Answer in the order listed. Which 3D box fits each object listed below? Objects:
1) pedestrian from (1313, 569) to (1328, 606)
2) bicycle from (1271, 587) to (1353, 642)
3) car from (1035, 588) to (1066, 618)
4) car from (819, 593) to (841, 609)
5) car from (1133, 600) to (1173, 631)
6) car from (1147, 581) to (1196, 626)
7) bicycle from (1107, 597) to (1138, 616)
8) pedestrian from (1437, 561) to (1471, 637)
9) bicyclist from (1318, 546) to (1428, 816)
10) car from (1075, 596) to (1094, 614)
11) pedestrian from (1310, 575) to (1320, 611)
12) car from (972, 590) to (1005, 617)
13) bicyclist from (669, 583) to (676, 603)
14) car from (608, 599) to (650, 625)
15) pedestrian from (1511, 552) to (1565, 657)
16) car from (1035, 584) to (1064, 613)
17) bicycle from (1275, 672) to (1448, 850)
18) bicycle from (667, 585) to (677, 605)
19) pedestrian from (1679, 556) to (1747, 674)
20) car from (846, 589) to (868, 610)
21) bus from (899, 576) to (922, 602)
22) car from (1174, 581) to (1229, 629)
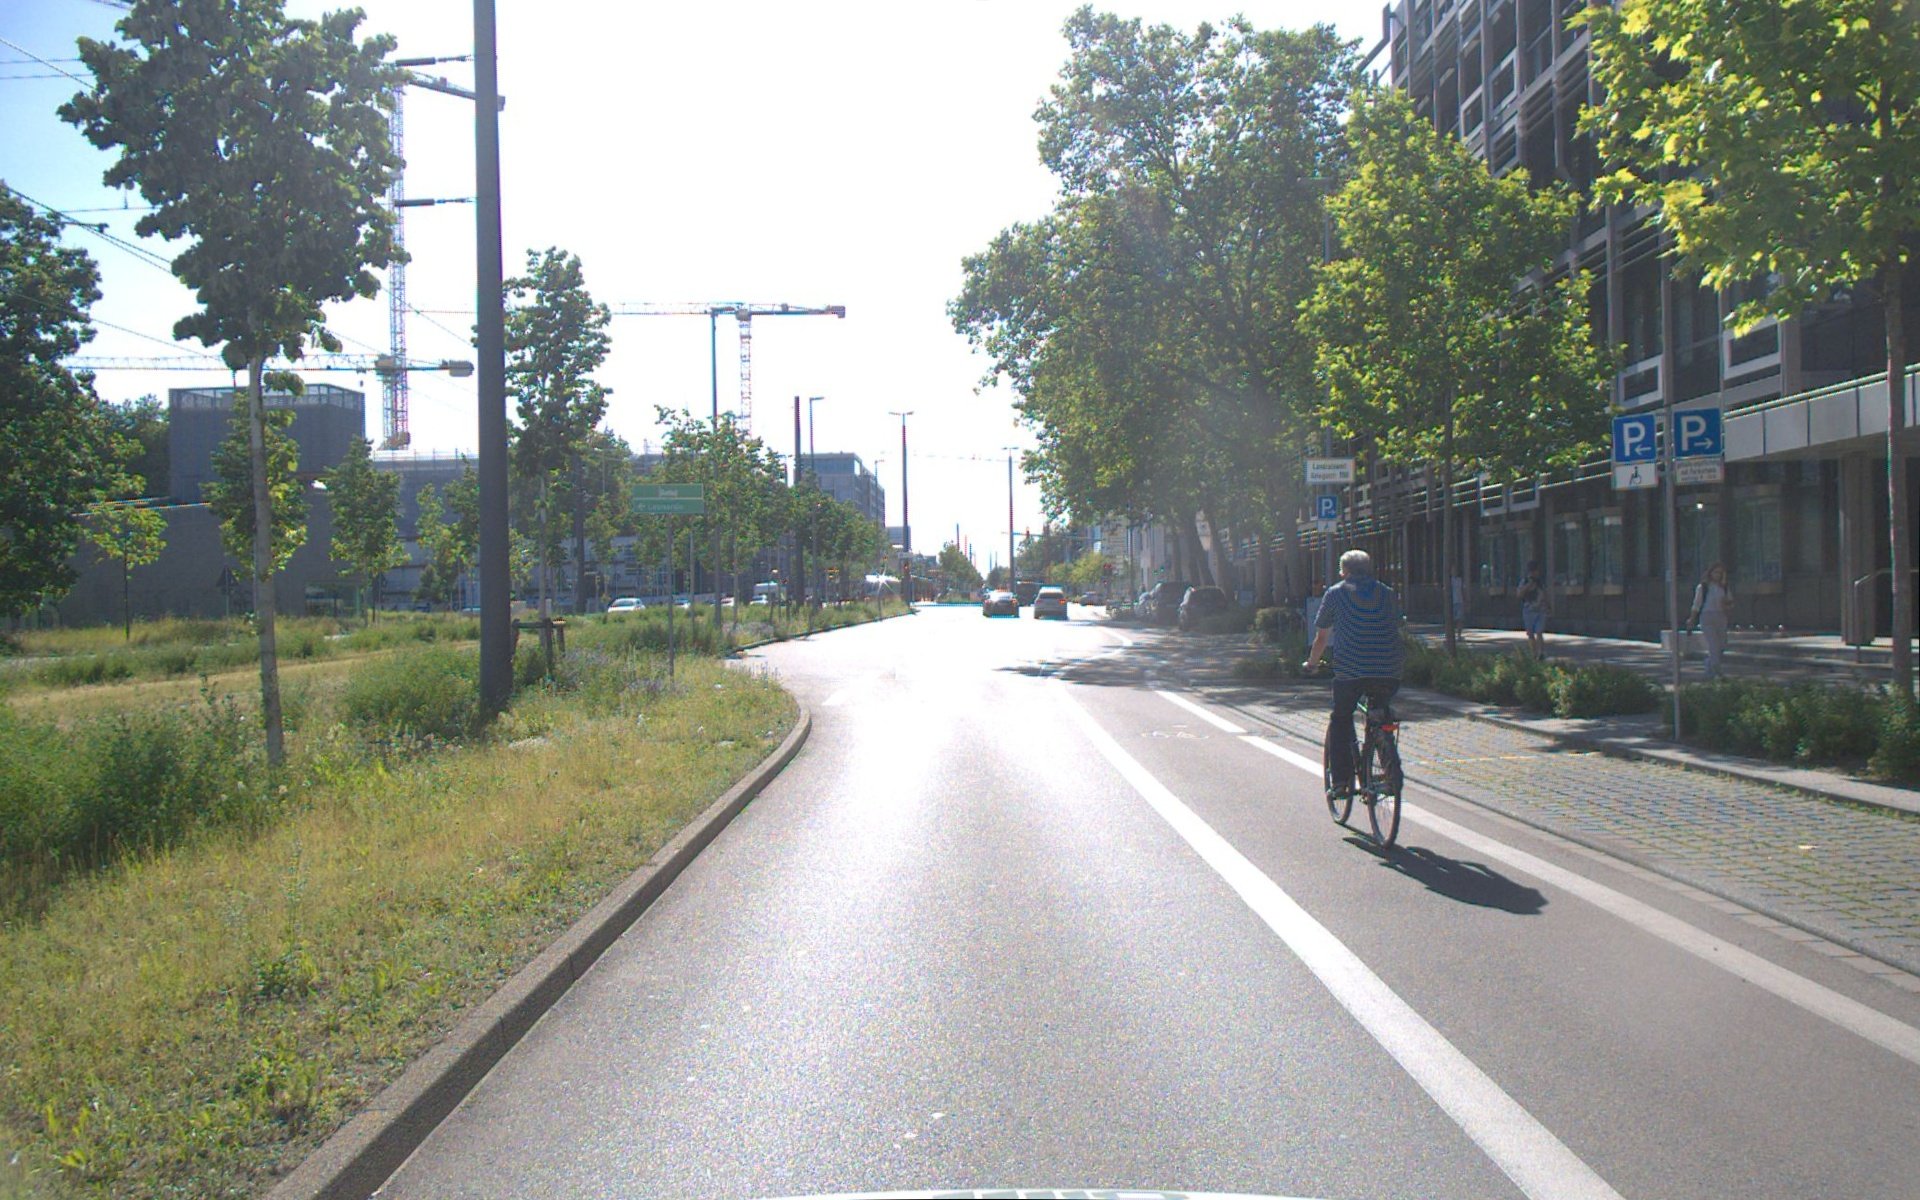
[{"bbox_3d":[15.909,-0.560,73.004,0.542,1.631,0.573,-1,0,2],"label":"pedestrian"},{"bbox_3d":[8.980,0.354,42.254,1.898,1.258,0.579,-4,0,-1],"label":"bicycle"},{"bbox_3d":[5.138,0.160,93.732,1.685,1.646,4.188,-1,0,4],"label":"car"},{"bbox_3d":[-10.124,0.052,128.968,1.348,1.199,3.221,1,-1,2],"label":"car"},{"bbox_3d":[9.825,0.770,84.608,1.668,1.519,4.602,-1,0,2],"label":"car"},{"bbox_3d":[9.178,0.115,72.132,1.669,1.821,4.193,-3,0,2],"label":"car"},{"bbox_3d":[9.137,0.378,93.138,1.659,0.974,0.478,-3,0,-2],"label":"bicycle"},{"bbox_3d":[11.621,-0.031,38.910,0.500,1.730,0.774,-3,0,1],"label":"pedestrian"},{"bbox_3d":[2.570,0.491,10.331,0.502,1.629,0.536,-1,0,-3],"label":"bicyclist"},{"bbox_3d":[11.968,0.493,159.253,1.628,1.678,3.701,1,-1,0],"label":"car"},{"bbox_3d":[15.688,-0.311,73.086,0.309,1.612,0.501,-1,0,-6],"label":"pedestrian"},{"bbox_3d":[1.710,0.214,97.363,1.872,1.512,4.010,-1,0,1],"label":"car"},{"bbox_3d":[-21.753,-0.554,125.011,0.386,1.480,0.539,1,0,1],"label":"bicyclist"},{"bbox_3d":[-19.064,0.675,95.345,1.599,1.422,3.833,-1,0,1],"label":"car"},{"bbox_3d":[9.857,0.080,28.242,0.634,1.758,0.803,-1,0,1],"label":"pedestrian"},{"bbox_3d":[5.753,-0.086,107.001,1.686,1.814,4.186,-1,0,1],"label":"car"},{"bbox_3d":[2.523,0.975,10.625,0.487,0.921,2.195,1,0,-2],"label":"bicycle"},{"bbox_3d":[-21.776,-0.383,125.023,0.353,1.481,1.914,-1,1,2],"label":"bicycle"},{"bbox_3d":[9.864,0.188,21.673,0.500,1.500,0.736,-3,0,1],"label":"pedestrian"},{"bbox_3d":[-9.768,-0.034,157.523,1.858,1.847,3.999,1,-1,-1],"label":"car"},{"bbox_3d":[-6.126,-1.292,205.892,2.574,3.011,9.897,1,-1,0],"label":"bus"},{"bbox_3d":[8.828,0.142,60.726,1.668,1.672,4.638,-1,0,4],"label":"car"}]
